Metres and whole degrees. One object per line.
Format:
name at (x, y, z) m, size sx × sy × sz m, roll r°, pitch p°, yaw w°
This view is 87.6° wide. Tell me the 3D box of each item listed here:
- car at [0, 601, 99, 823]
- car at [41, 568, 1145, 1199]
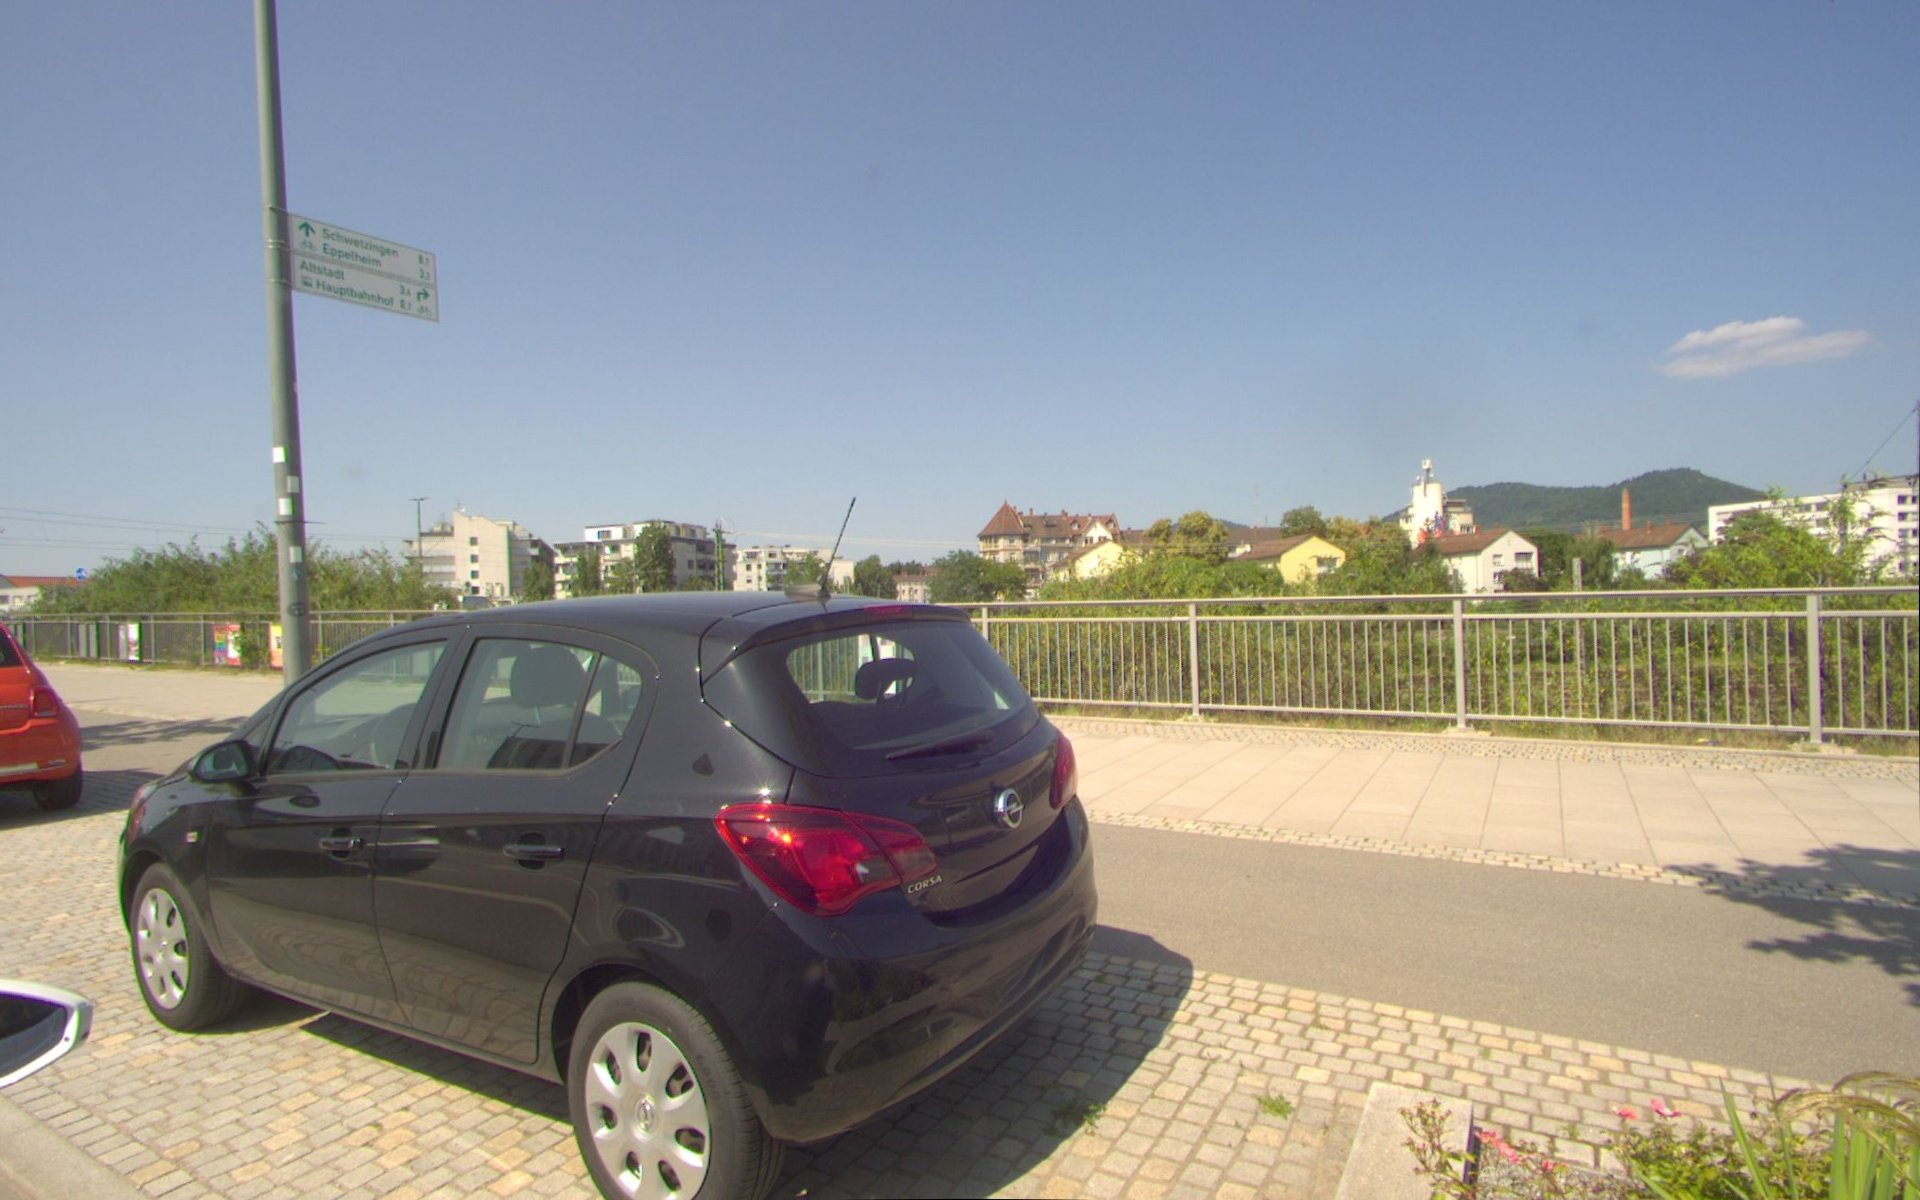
car at (-8.161, 0.804, 7.591) m, size 3.305 × 1.517 × 1.606 m, roll -1°, pitch 2°, yaw 34°
car at (-1.506, 0.695, 3.611) m, size 3.943 × 1.445 × 1.657 m, roll -1°, pitch 0°, yaw 32°
